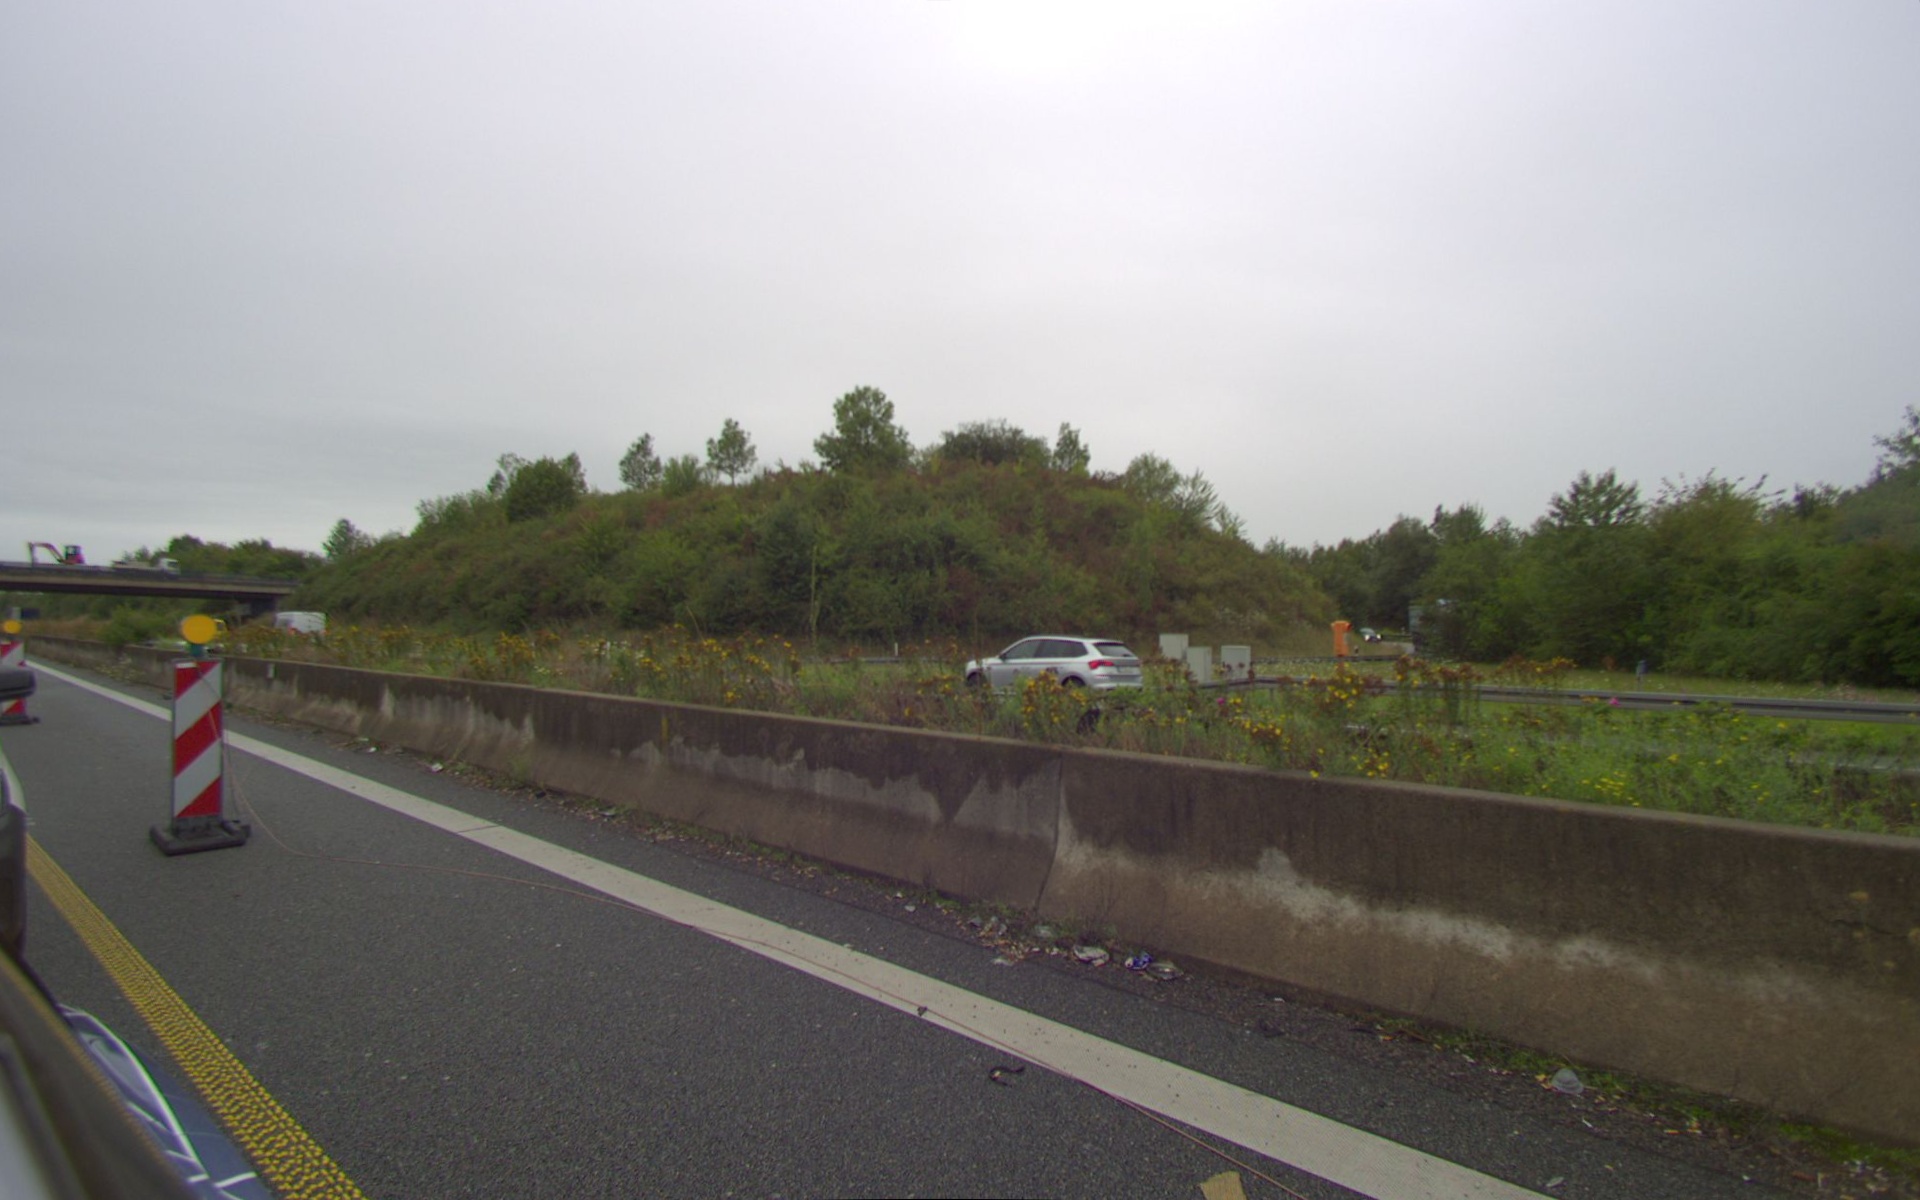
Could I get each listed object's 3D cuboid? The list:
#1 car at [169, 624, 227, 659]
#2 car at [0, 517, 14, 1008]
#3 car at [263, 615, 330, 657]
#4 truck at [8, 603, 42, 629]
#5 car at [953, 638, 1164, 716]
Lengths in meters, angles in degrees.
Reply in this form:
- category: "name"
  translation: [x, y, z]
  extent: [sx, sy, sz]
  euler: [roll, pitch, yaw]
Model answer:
- category: "car"
  translation: [-46.991, 2.544, 62.404]
  extent: [4.777, 2.063, 1.972]
  euler: [-2, -3, 42]
- category: "car"
  translation: [-5.813, 0.643, 4.595]
  extent: [4.645, 1.798, 1.747]
  euler: [-1, -1, 41]
- category: "car"
  translation: [-41.076, 2.249, 62.578]
  extent: [5.884, 2.459, 2.214]
  euler: [-2, -3, 44]
- category: "truck"
  translation: [-167.557, 2.839, 181.233]
  extent: [17.291, 4.558, 3.369]
  euler: [0, -1, 44]
- category: "car"
  translation: [2.018, 1.556, 21.449]
  extent: [4.108, 1.491, 1.972]
  euler: [-2, -3, 42]
